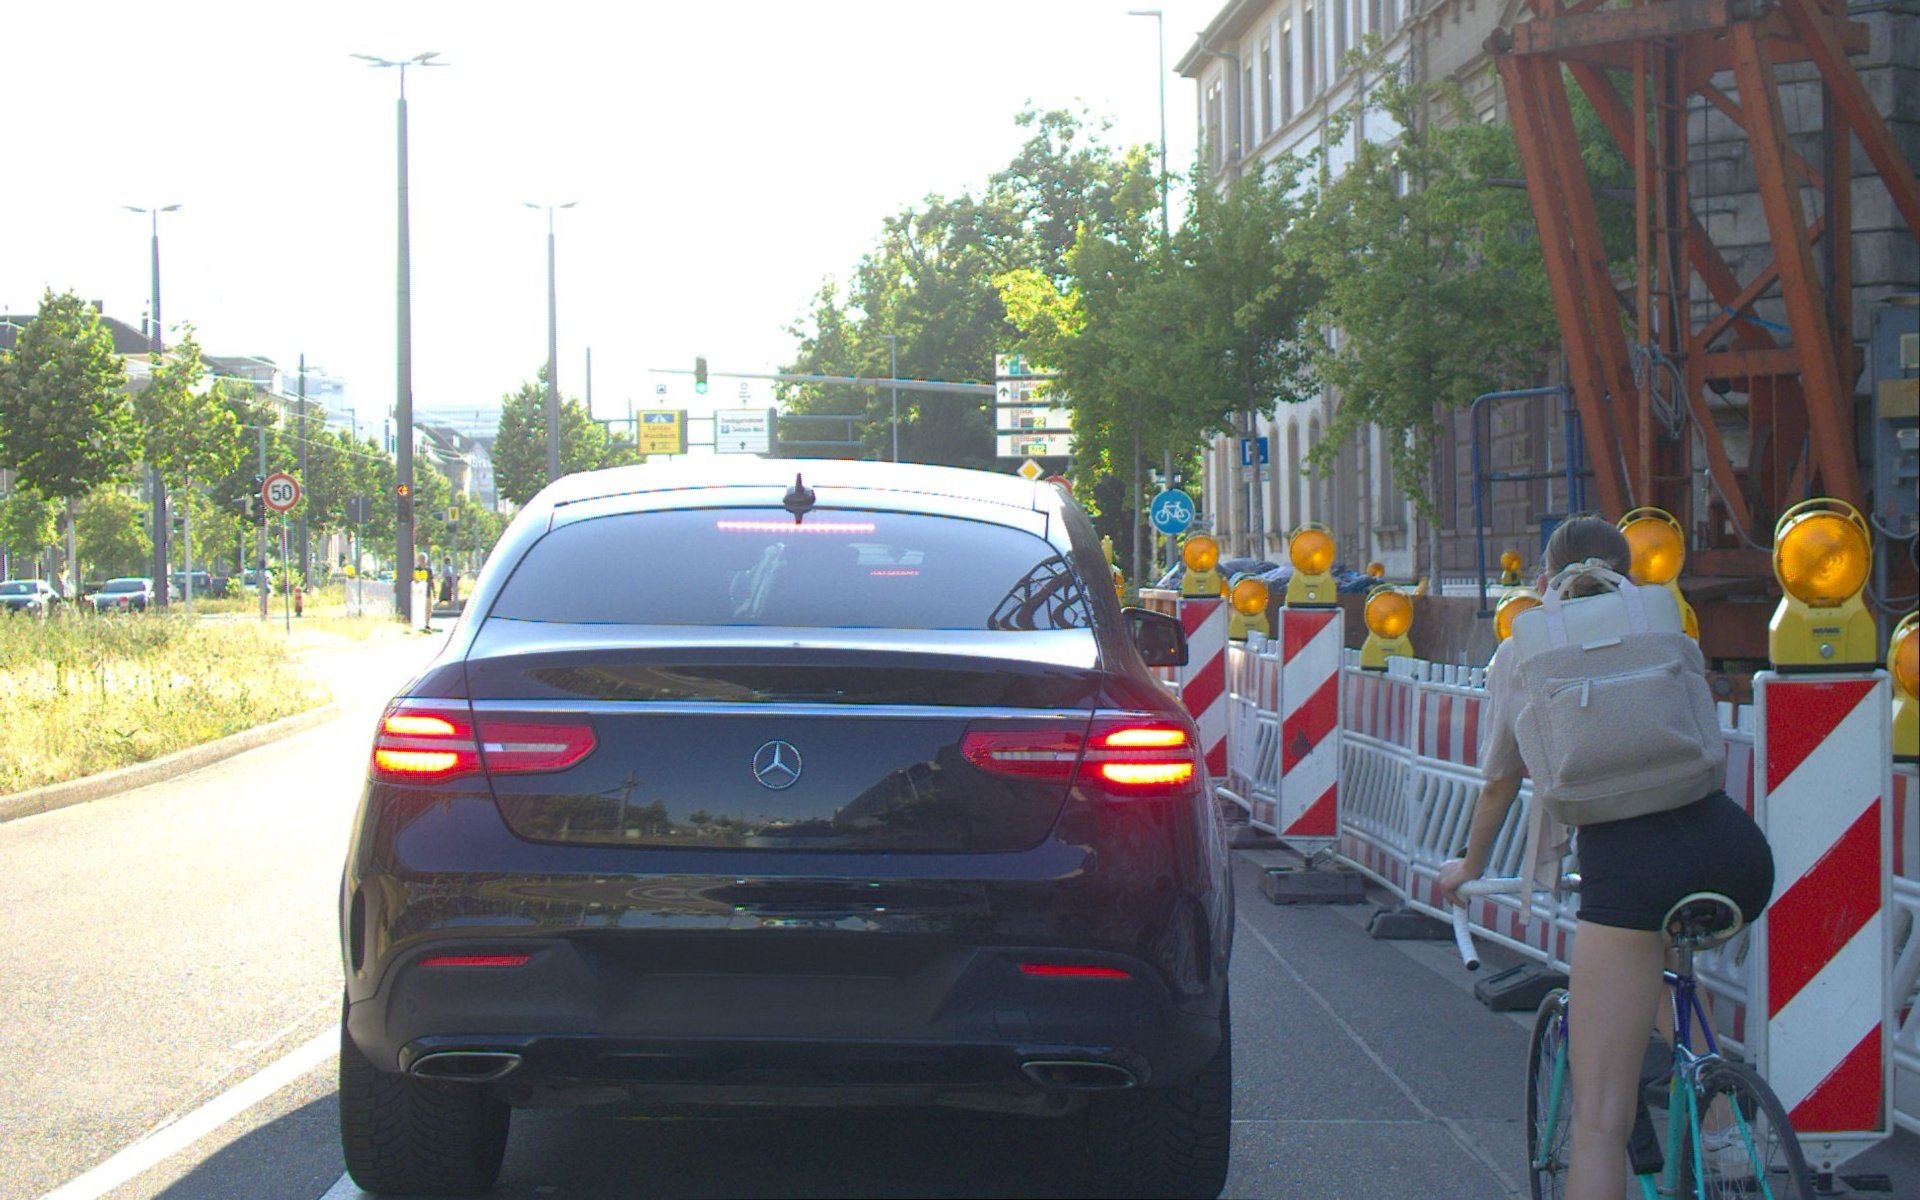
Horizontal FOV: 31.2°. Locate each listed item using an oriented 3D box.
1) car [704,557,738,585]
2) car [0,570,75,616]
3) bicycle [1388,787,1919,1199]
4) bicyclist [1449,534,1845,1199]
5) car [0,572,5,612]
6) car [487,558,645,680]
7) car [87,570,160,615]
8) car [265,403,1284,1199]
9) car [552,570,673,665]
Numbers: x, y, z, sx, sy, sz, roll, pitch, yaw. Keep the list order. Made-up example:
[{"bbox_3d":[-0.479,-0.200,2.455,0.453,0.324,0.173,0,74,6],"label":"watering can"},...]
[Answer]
[{"bbox_3d":[-12.720,-1.568,183.436,1.708,1.437,3.583,1,1,-3],"label":"car"},{"bbox_3d":[-29.894,-0.252,111.274,1.708,1.437,3.583,1,1,-3],"label":"car"},{"bbox_3d":[1.175,0.914,6.097,0.512,1.048,1.725,1,1,-3],"label":"bicycle"},{"bbox_3d":[1.184,0.587,6.014,0.522,1.391,0.615,1,0,-3],"label":"bicyclist"},{"bbox_3d":[-34.760,-0.278,120.442,1.708,1.437,3.583,1,1,-3],"label":"car"},{"bbox_3d":[-4.875,0.215,42.925,1.708,1.437,3.583,1,1,-3],"label":"car"},{"bbox_3d":[-27.959,-0.261,114.939,1.708,1.437,3.583,1,1,-3],"label":"car"},{"bbox_3d":[-0.390,0.489,8.798,1.993,1.766,4.000,1,1,-1],"label":"car"},{"bbox_3d":[-5.492,0.256,54.636,1.708,1.437,3.583,1,1,-3],"label":"car"}]
